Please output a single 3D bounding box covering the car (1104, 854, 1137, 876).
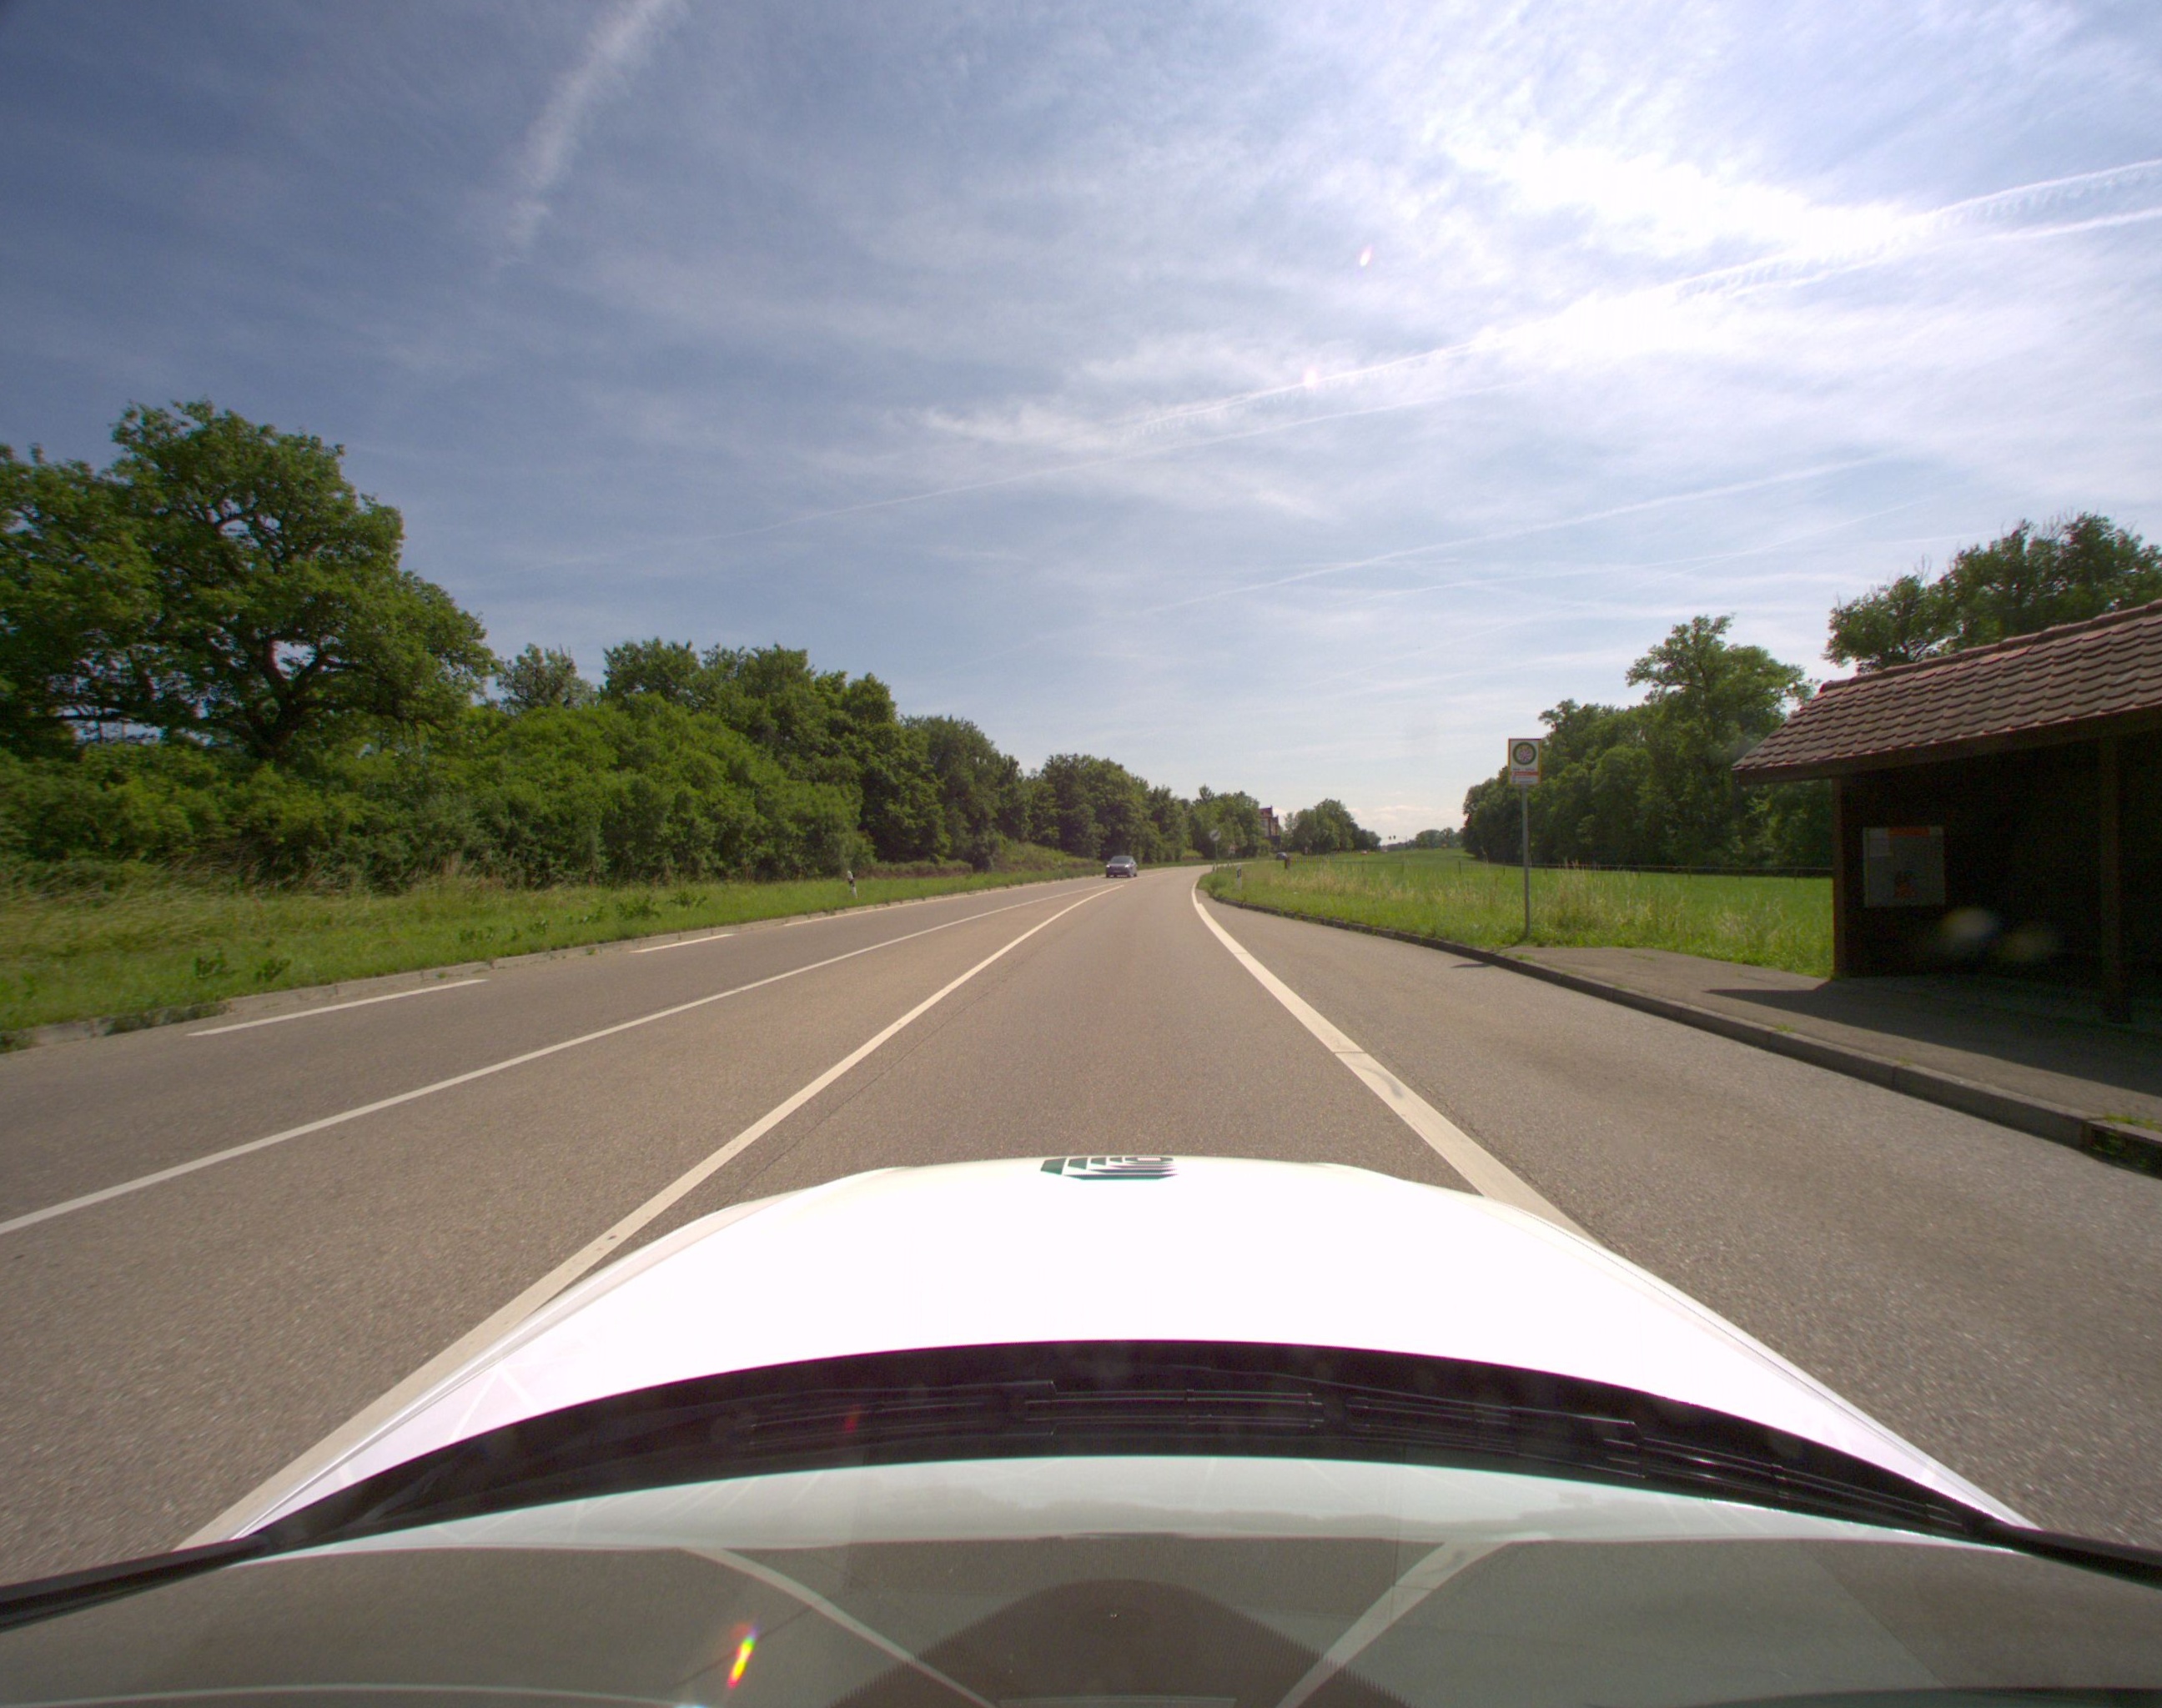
[{"bbox_3d":[2.910,0.801,58.837,1.743,1.534,4.242,0,0,12],"label":"car"}]

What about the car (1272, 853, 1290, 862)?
[{"bbox_3d":[36.920,0.599,150.208,1.974,1.574,4.025,-1,0,31],"label":"car"}]
